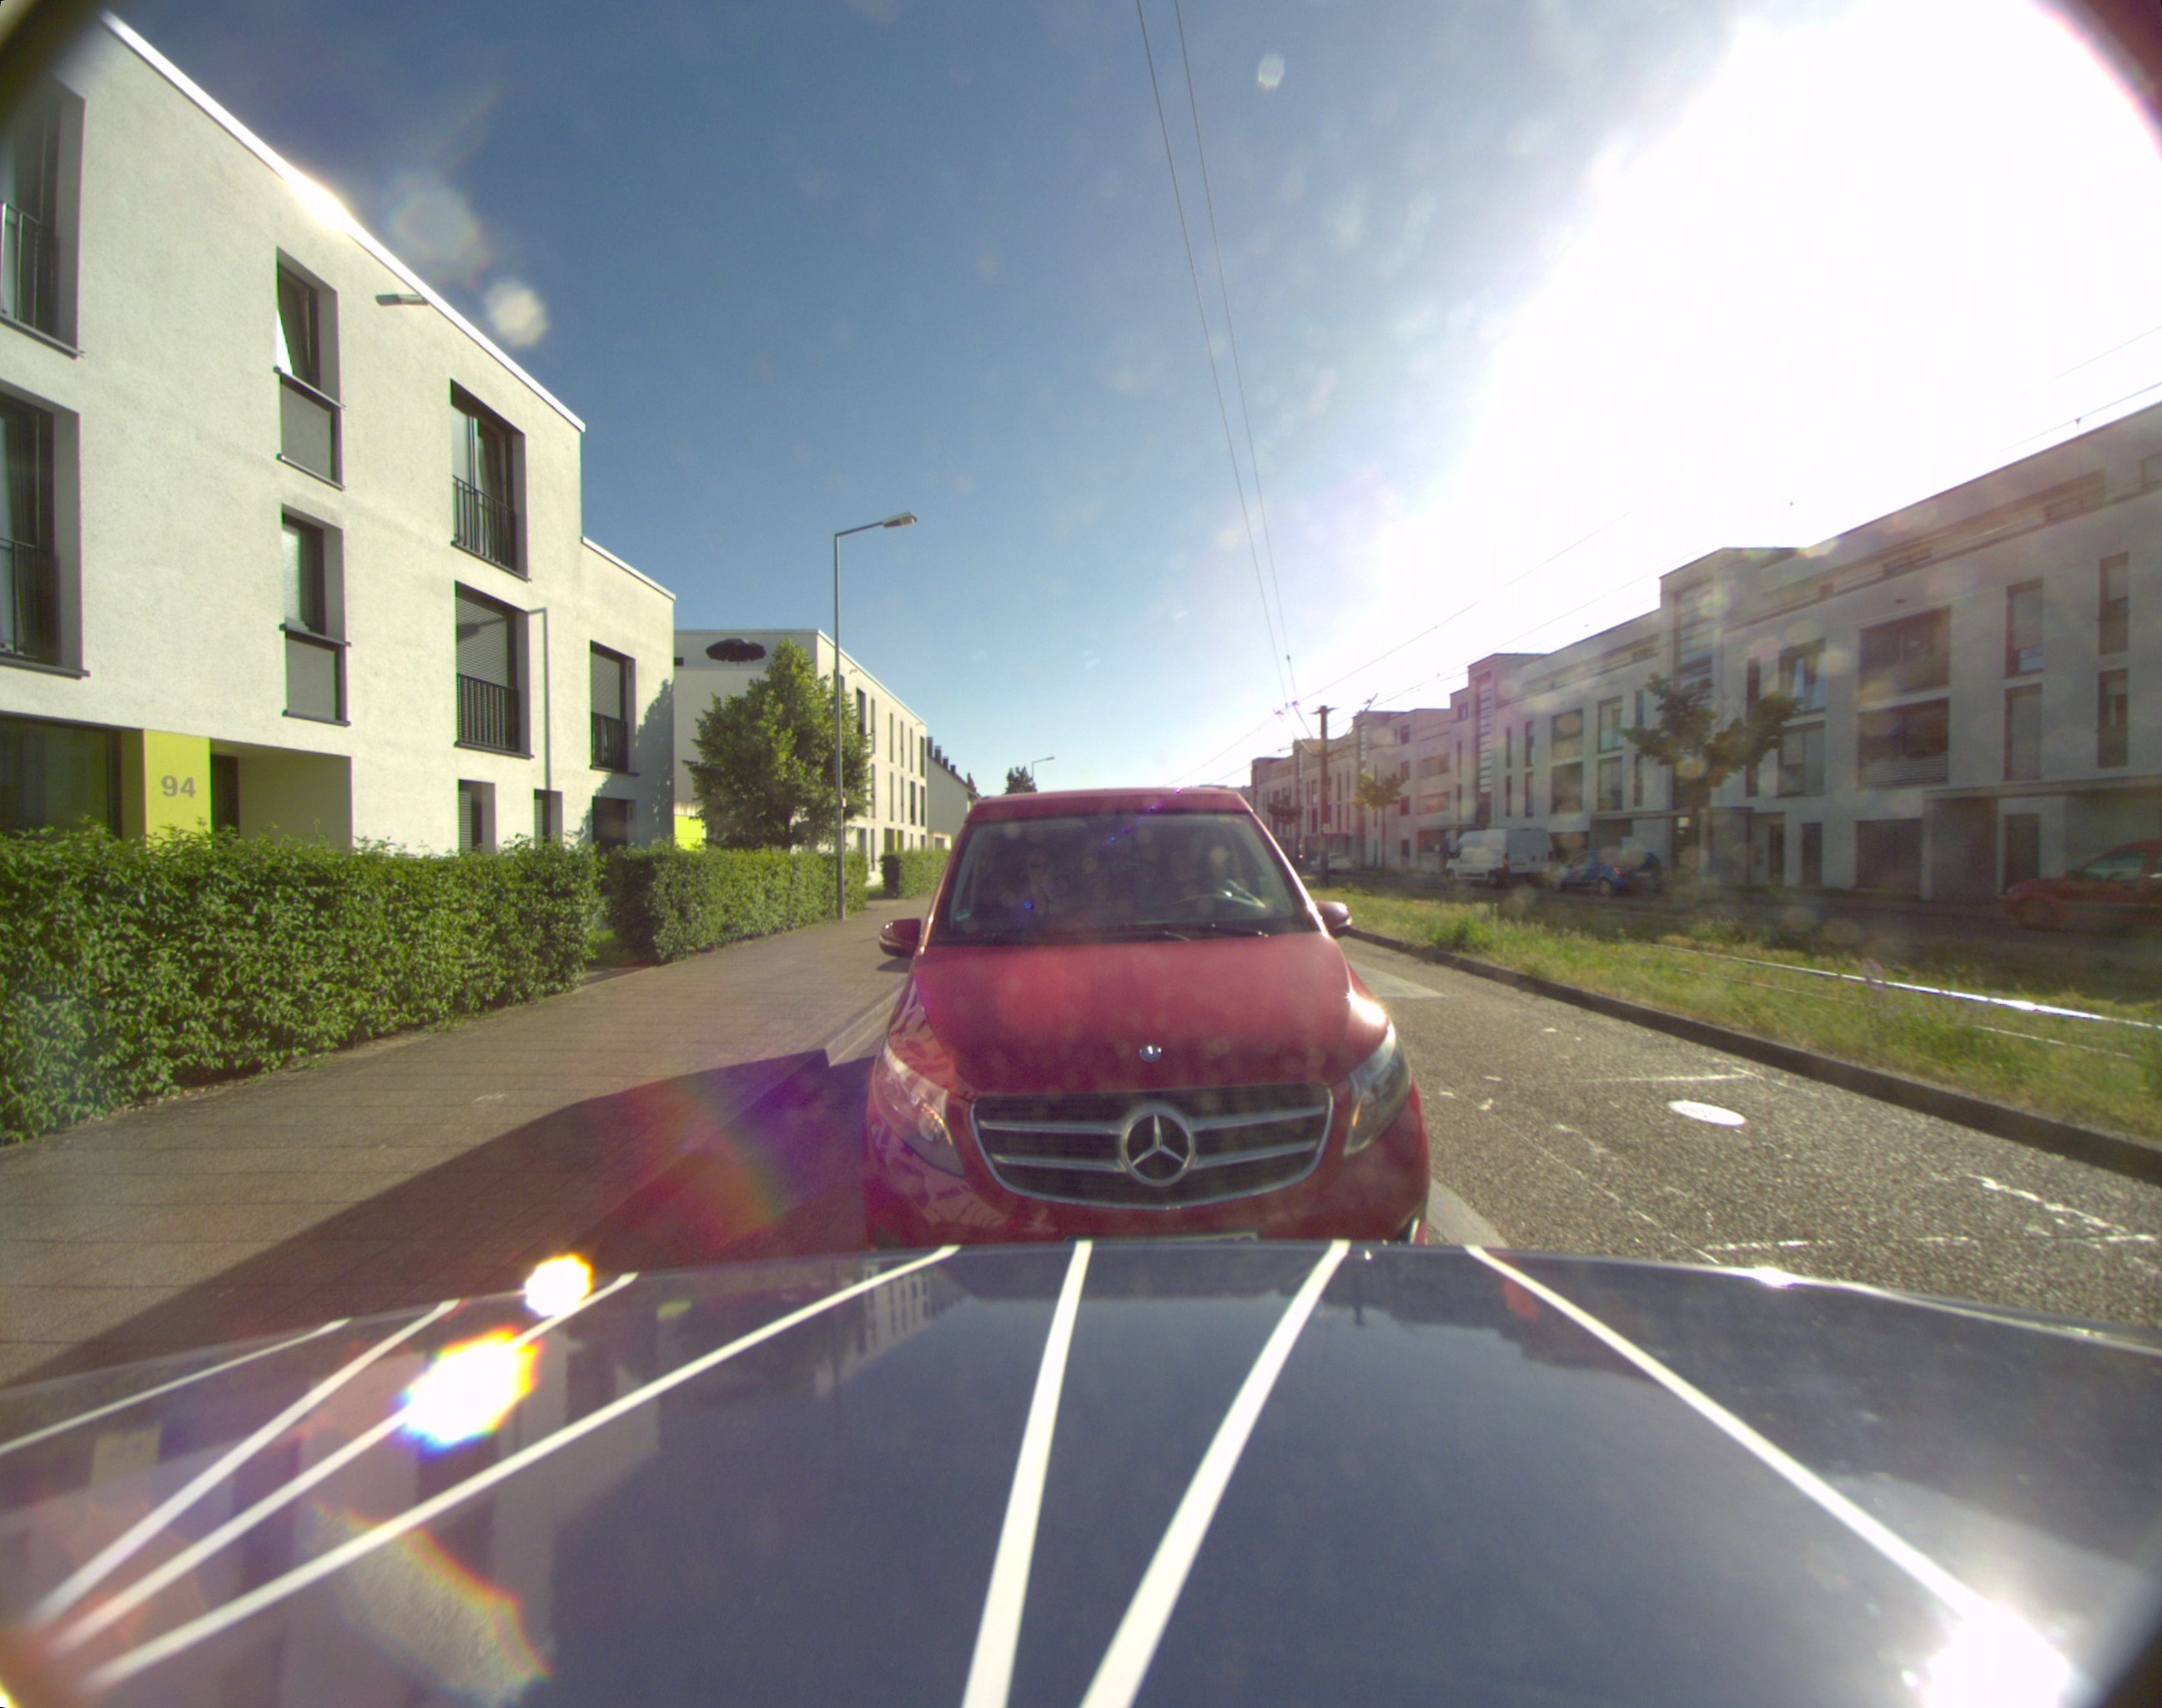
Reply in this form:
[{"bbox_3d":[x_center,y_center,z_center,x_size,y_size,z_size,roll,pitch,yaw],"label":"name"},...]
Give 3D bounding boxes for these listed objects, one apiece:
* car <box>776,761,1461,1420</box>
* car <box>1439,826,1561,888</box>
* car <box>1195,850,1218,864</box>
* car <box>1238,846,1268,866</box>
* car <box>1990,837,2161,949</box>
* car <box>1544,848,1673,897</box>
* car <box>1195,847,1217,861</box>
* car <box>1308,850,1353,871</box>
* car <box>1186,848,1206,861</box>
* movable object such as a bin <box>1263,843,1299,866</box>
[{"bbox_3d":[0.171,0.713,4.883,1.979,1.922,5.205,-2,0,1],"label":"car"},{"bbox_3d":[18.176,0.102,33.353,2.146,2.430,5.588,-2,0,-1],"label":"car"},{"bbox_3d":[13.013,0.291,78.886,1.792,1.410,4.000,1,0,1],"label":"car"},{"bbox_3d":[16.779,0.211,74.268,1.766,1.859,4.155,-2,0,-4],"label":"car"},{"bbox_3d":[18.556,0.622,12.816,1.885,1.785,3.837,-2,0,1],"label":"car"},{"bbox_3d":[18.226,0.586,26.492,1.829,1.528,3.842,-2,0,0],"label":"car"},{"bbox_3d":[15.432,0.020,93.952,1.766,1.590,4.155,-2,0,-4],"label":"car"},{"bbox_3d":[17.601,0.431,53.724,1.521,1.424,4.155,-2,0,-4],"label":"car"},{"bbox_3d":[15.044,0.020,99.586,1.766,1.590,4.155,-2,0,-4],"label":"car"},{"bbox_3d":[17.635,0.055,67.094,1.766,1.926,4.155,-2,0,-4],"label":"movable object such as a bin"}]
